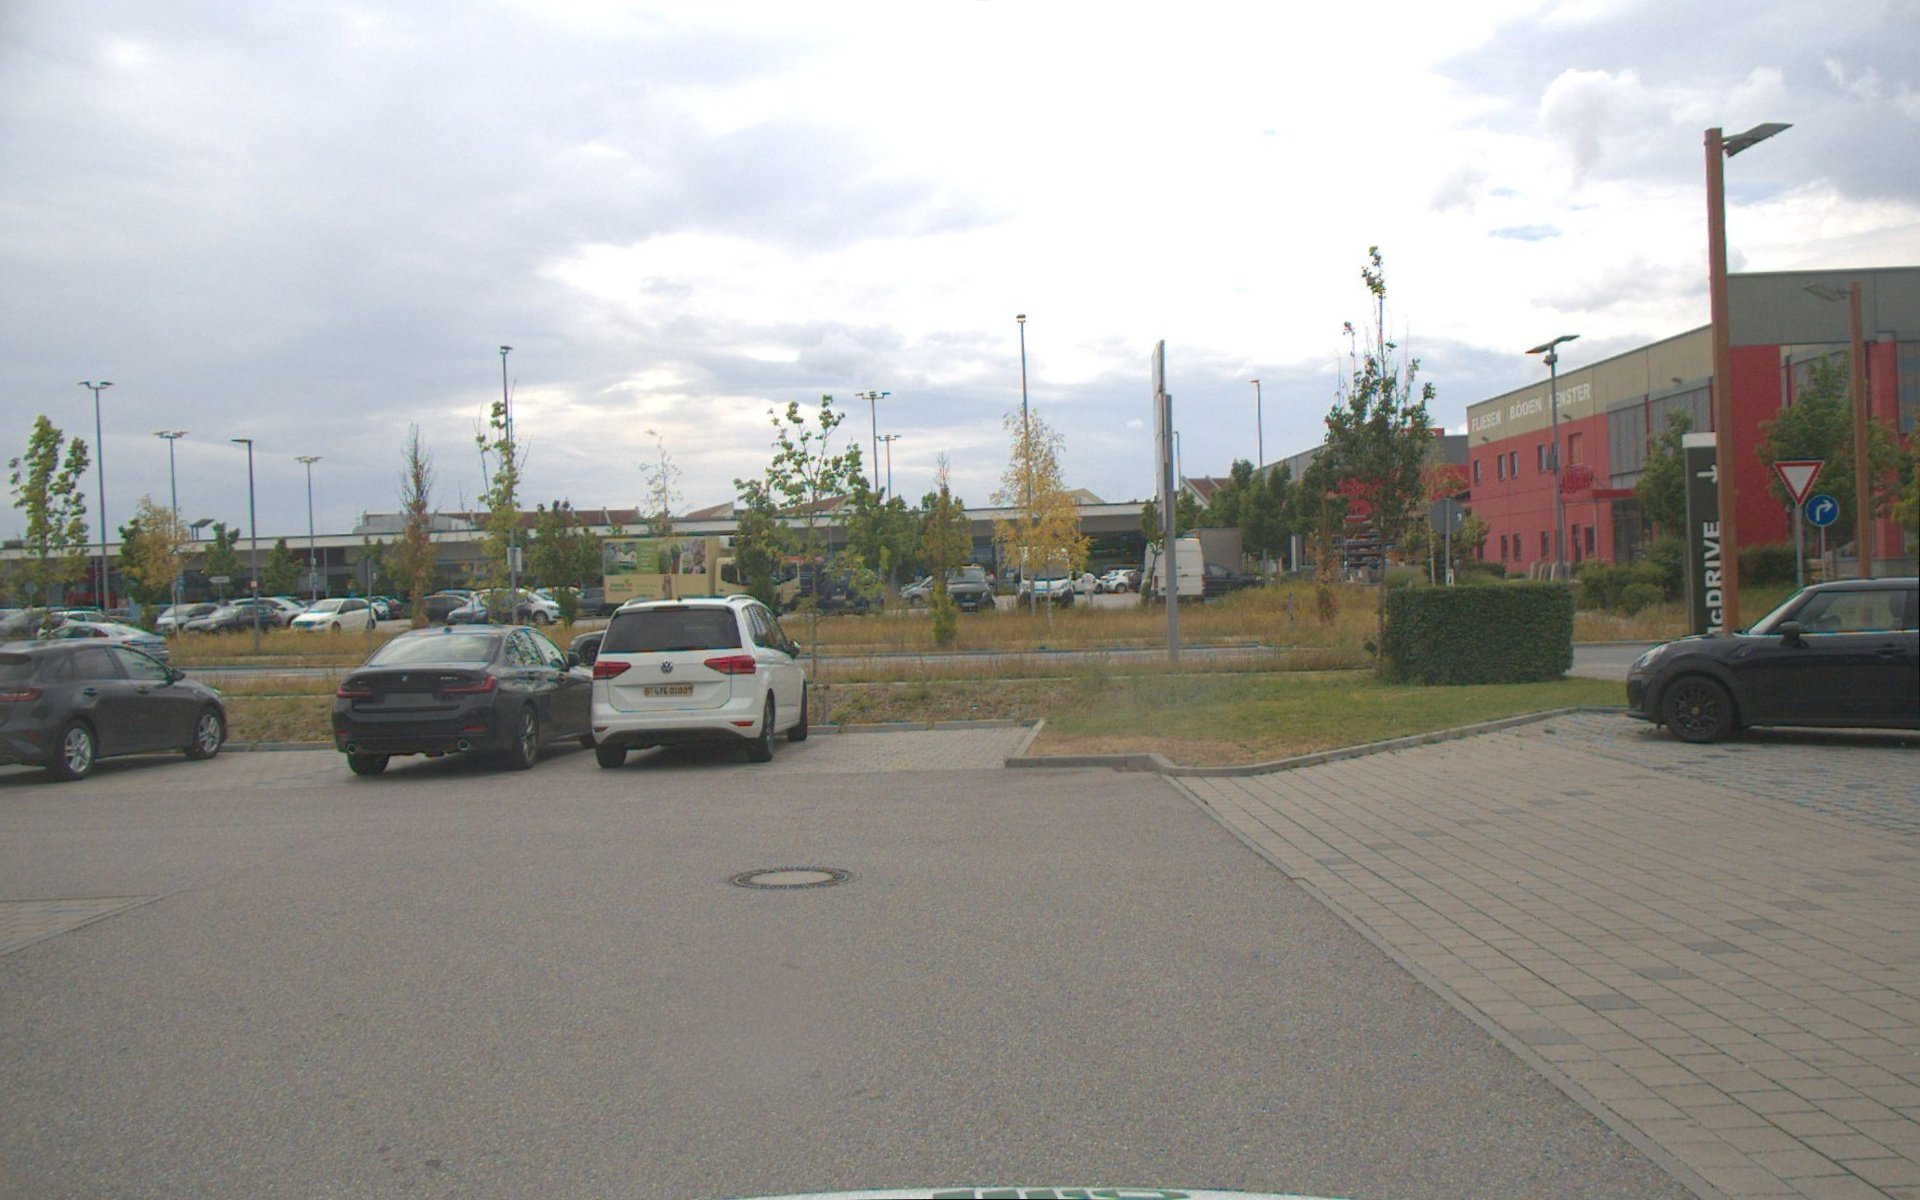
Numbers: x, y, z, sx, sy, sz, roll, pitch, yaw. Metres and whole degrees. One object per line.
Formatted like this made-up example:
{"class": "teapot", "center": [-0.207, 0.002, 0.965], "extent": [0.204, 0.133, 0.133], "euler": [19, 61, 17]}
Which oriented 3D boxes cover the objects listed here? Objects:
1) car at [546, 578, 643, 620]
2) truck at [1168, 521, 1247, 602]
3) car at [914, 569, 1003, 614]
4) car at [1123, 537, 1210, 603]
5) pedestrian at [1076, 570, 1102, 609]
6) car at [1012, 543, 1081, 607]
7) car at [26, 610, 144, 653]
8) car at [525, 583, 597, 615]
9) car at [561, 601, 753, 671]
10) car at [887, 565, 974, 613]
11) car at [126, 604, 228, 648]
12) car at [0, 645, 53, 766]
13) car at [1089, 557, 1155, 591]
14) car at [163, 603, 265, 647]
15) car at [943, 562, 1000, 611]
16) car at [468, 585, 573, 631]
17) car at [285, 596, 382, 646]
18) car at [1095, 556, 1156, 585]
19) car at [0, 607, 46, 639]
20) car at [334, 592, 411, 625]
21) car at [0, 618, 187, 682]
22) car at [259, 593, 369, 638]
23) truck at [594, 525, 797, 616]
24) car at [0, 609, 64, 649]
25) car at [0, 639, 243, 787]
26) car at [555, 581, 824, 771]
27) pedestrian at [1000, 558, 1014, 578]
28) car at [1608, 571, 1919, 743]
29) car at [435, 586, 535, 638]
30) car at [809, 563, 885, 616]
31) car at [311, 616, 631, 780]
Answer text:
{"class": "car", "center": [-17.940, -0.078, 81.344], "extent": [4.218, 1.802, 2.001], "euler": [-2, 2, 1]}
{"class": "truck", "center": [12.489, -2.006, 84.076], "extent": [2.594, 3.808, 8.257], "euler": [-2, 2, 0]}
{"class": "car", "center": [-0.052, -0.387, 74.315], "extent": [3.905, 1.768, 1.891], "euler": [-2, 2, 0]}
{"class": "car", "center": [7.790, -1.189, 63.107], "extent": [2.291, 2.307, 6.505], "euler": [-2, 2, -1]}
{"class": "pedestrian", "center": [4.975, -0.414, 63.846], "extent": [0.954, 1.453, 0.788], "euler": [-2, 2, 3]}
{"class": "car", "center": [3.257, -1.006, 63.520], "extent": [2.359, 2.252, 6.061], "euler": [-2, 2, 1]}
{"class": "car", "center": [-37.800, 1.332, 71.556], "extent": [1.953, 1.566, 4.160], "euler": [-2, 2, 23]}
{"class": "car", "center": [-26.013, -0.085, 107.975], "extent": [4.085, 1.869, 2.001], "euler": [-2, 2, 3]}
{"class": "car", "center": [-8.118, 0.944, 44.549], "extent": [4.738, 1.579, 1.803], "euler": [-2, 2, 1]}
{"class": "car", "center": [-1.427, -0.536, 78.588], "extent": [3.911, 2.048, 1.997], "euler": [-3, 2, -7]}
{"class": "car", "center": [-33.432, 1.097, 70.726], "extent": [1.728, 1.566, 4.059], "euler": [-2, 2, 13]}
{"class": "car", "center": [-12.808, 1.299, 19.035], "extent": [1.865, 1.482, 4.744], "euler": [-2, -1, 4]}
{"class": "car", "center": [9.916, -1.621, 101.450], "extent": [3.904, 1.869, 2.001], "euler": [-2, 2, 3]}
{"class": "car", "center": [-31.369, 1.044, 69.666], "extent": [1.728, 1.566, 4.059], "euler": [-2, 2, 13]}
{"class": "car", "center": [0.458, -0.544, 63.175], "extent": [2.028, 1.667, 5.071], "euler": [-2, 2, 1]}
{"class": "car", "center": [-19.111, 0.346, 72.000], "extent": [3.902, 1.802, 2.002], "euler": [-2, 2, 16]}
{"class": "car", "center": [-25.809, 0.831, 68.276], "extent": [1.951, 1.802, 4.325], "euler": [-2, 2, 6]}
{"class": "car", "center": [10.965, -1.979, 109.993], "extent": [3.904, 1.766, 1.935], "euler": [-2, 2, 3]}
{"class": "car", "center": [-61.701, 1.512, 106.896], "extent": [4.085, 1.869, 2.002], "euler": [-2, 2, 4]}
{"class": "car", "center": [-37.257, 0.515, 104.975], "extent": [4.085, 1.869, 2.001], "euler": [-2, 2, 3]}
{"class": "car", "center": [-25.219, 1.438, 48.034], "extent": [4.735, 1.579, 1.804], "euler": [-2, 2, 9]}
{"class": "car", "center": [-29.076, 0.678, 74.500], "extent": [4.215, 1.802, 1.923], "euler": [-2, 2, 15]}
{"class": "truck", "center": [-10.485, -1.128, 65.055], "extent": [8.270, 3.251, 3.016], "euler": [-1, 2, 39]}
{"class": "car", "center": [-42.394, 1.308, 74.259], "extent": [1.729, 1.566, 3.768], "euler": [-2, 2, 10]}
{"class": "car", "center": [-9.895, 1.192, 18.444], "extent": [1.843, 1.437, 4.071], "euler": [-2, -1, 3]}
{"class": "car", "center": [-2.740, 0.764, 17.801], "extent": [1.944, 1.743, 4.373], "euler": [-2, -1, 3]}
{"class": "pedestrian", "center": [3.526, -2.383, 123.015], "extent": [0.646, 1.453, 0.788], "euler": [-4, 2, -37]}
{"class": "car", "center": [8.109, 0.472, 14.968], "extent": [3.857, 1.436, 1.679], "euler": [-1, 0, 40]}
{"class": "car", "center": [-18.997, 0.455, 66.333], "extent": [1.884, 1.802, 4.326], "euler": [-2, 2, 13]}
{"class": "car", "center": [-4.333, -0.427, 64.207], "extent": [2.027, 1.917, 5.074], "euler": [-2, 0, 6]}
{"class": "car", "center": [-5.075, 0.975, 17.886], "extent": [1.901, 1.492, 4.517], "euler": [-2, -1, 3]}
